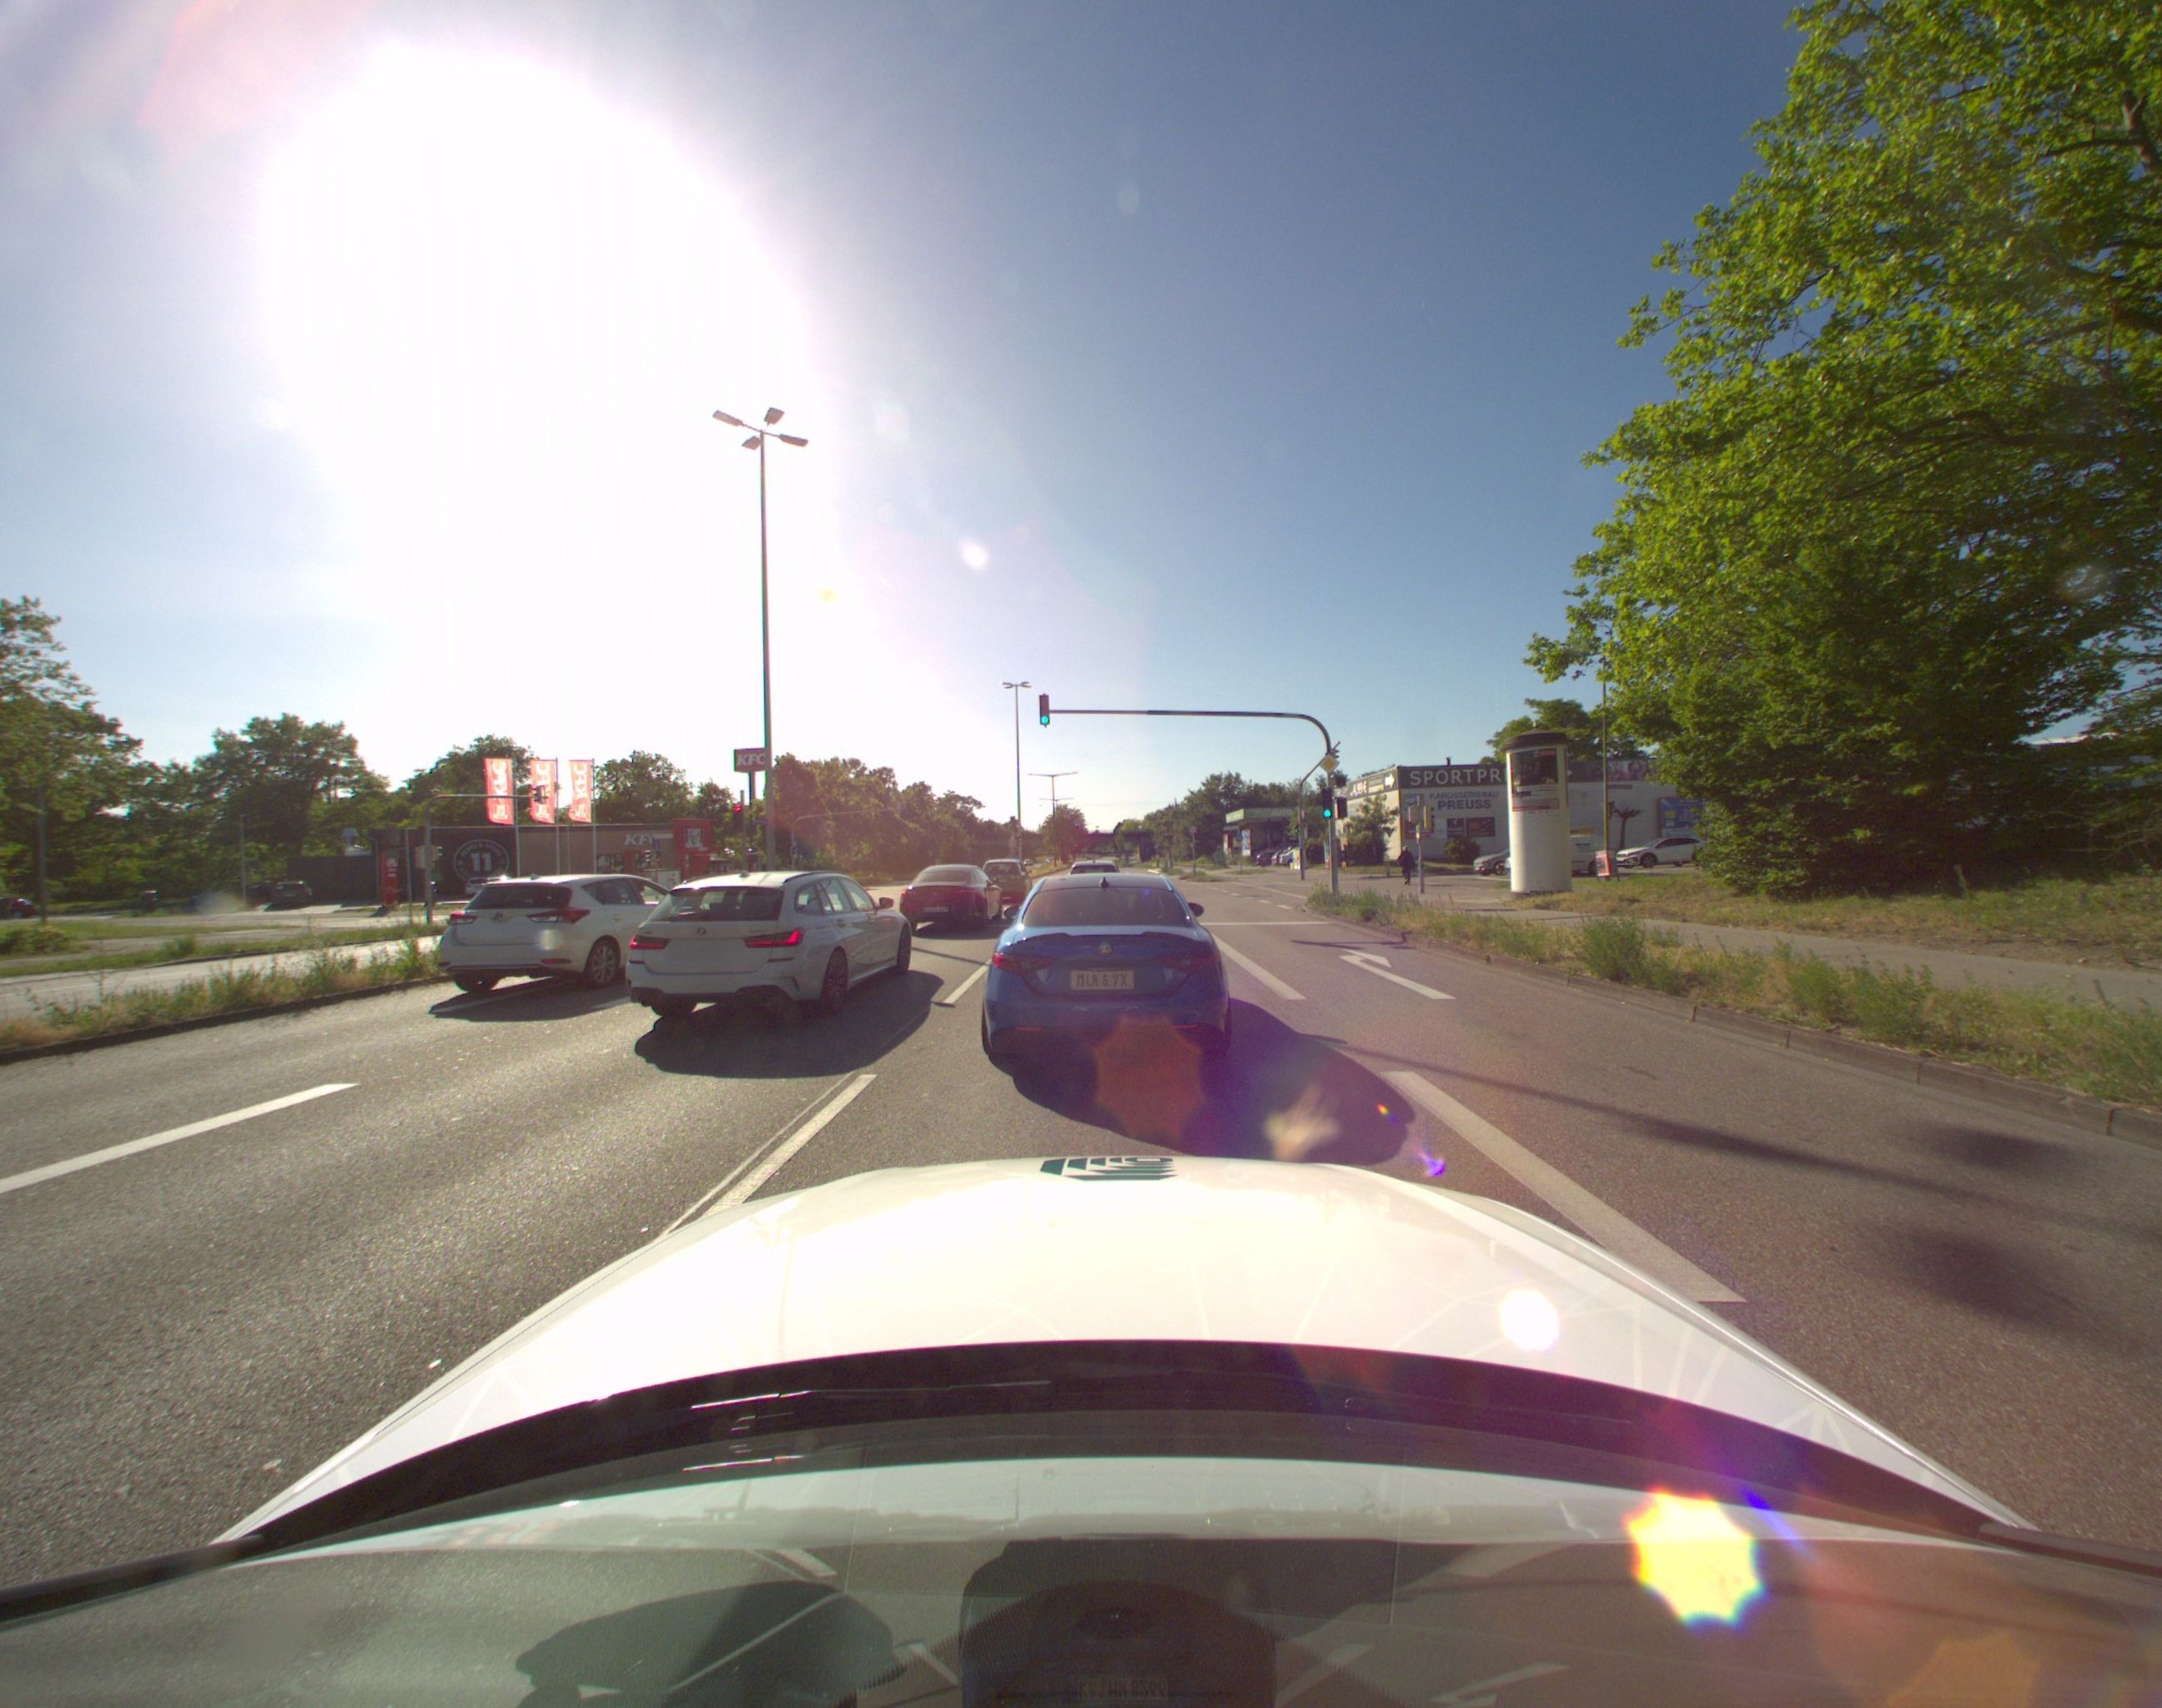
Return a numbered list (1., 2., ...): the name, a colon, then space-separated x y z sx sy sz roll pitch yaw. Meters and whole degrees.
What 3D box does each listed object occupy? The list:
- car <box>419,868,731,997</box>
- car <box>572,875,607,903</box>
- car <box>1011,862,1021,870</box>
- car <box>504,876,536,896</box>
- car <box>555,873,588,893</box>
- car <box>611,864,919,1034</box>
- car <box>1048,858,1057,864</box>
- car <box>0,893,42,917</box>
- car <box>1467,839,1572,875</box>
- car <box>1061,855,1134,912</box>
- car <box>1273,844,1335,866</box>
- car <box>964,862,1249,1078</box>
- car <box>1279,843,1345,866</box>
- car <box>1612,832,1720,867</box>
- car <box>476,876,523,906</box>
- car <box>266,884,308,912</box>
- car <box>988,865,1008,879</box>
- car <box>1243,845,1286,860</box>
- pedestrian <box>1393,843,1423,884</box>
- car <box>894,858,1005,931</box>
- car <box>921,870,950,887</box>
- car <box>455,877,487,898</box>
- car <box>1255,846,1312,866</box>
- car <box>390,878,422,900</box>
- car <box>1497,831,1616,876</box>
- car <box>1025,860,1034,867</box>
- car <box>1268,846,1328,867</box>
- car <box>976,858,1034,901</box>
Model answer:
1. car: -6.805 0.948 11.600 1.753 1.490 4.197 0 -1 1
2. car: -33.750 2.364 55.987 1.920 1.753 4.315 0 -1 -29
3. car: -12.801 2.421 160.651 1.609 1.559 3.358 0 -1 2
4. car: -43.232 2.437 62.701 1.670 1.471 3.872 1 -1 -40
5. car: -40.421 2.268 64.545 1.670 1.471 3.872 1 -1 -40
6. car: -3.237 0.876 9.418 1.779 1.490 4.403 0 -1 1
7. car: -6.959 1.694 197.604 1.752 1.490 4.480 -3 -1 2
8. car: -72.335 3.430 54.017 3.967 1.461 1.641 -2 0 -44
9. car: 21.692 0.130 40.402 4.273 1.549 1.765 -3 1 0
10. car: 0.452 0.786 22.739 1.844 1.418 4.403 0 -1 1
11. car: 17.851 0.077 65.259 4.470 1.454 1.860 -4 -1 3
12. car: 0.199 0.805 7.613 1.889 1.418 4.403 0 -1 1
13. car: 17.505 0.061 61.783 4.470 1.454 1.860 -4 -1 3
14. car: 28.990 -0.210 40.457 4.028 1.490 1.782 -3 -1 -1
15. car: -37.418 2.342 52.506 2.005 1.765 4.315 0 -1 -29
16. car: -52.376 2.872 53.754 1.670 1.673 3.897 1 -1 -40
17. car: -9.511 2.023 93.710 1.752 1.490 3.838 -3 -1 2
18. car: 21.308 -0.146 94.768 4.532 1.490 1.766 -4 -1 3
19. pedestrian: 14.167 0.399 35.309 0.922 1.735 0.939 0 -1 1
20. car: -2.933 0.874 19.081 1.790 1.490 4.476 0 -1 1
21. car: -14.001 2.351 78.629 1.752 1.490 4.480 -3 -1 2
22. car: -45.724 2.492 61.046 1.670 1.471 3.872 1 -1 -40
23. car: 17.712 0.212 71.393 4.470 1.454 1.860 -4 -1 3
24. car: -48.236 2.467 58.178 1.670 1.471 3.872 1 -1 -40
25. car: 21.562 -0.042 37.069 4.367 1.801 1.765 -3 1 0
26. car: -11.372 2.146 181.087 1.603 1.647 3.464 0 -1 2
27. car: 18.088 0.192 68.015 4.470 1.454 1.860 -4 -1 3
28. car: -2.817 0.938 31.059 1.753 1.490 4.403 0 -1 1
